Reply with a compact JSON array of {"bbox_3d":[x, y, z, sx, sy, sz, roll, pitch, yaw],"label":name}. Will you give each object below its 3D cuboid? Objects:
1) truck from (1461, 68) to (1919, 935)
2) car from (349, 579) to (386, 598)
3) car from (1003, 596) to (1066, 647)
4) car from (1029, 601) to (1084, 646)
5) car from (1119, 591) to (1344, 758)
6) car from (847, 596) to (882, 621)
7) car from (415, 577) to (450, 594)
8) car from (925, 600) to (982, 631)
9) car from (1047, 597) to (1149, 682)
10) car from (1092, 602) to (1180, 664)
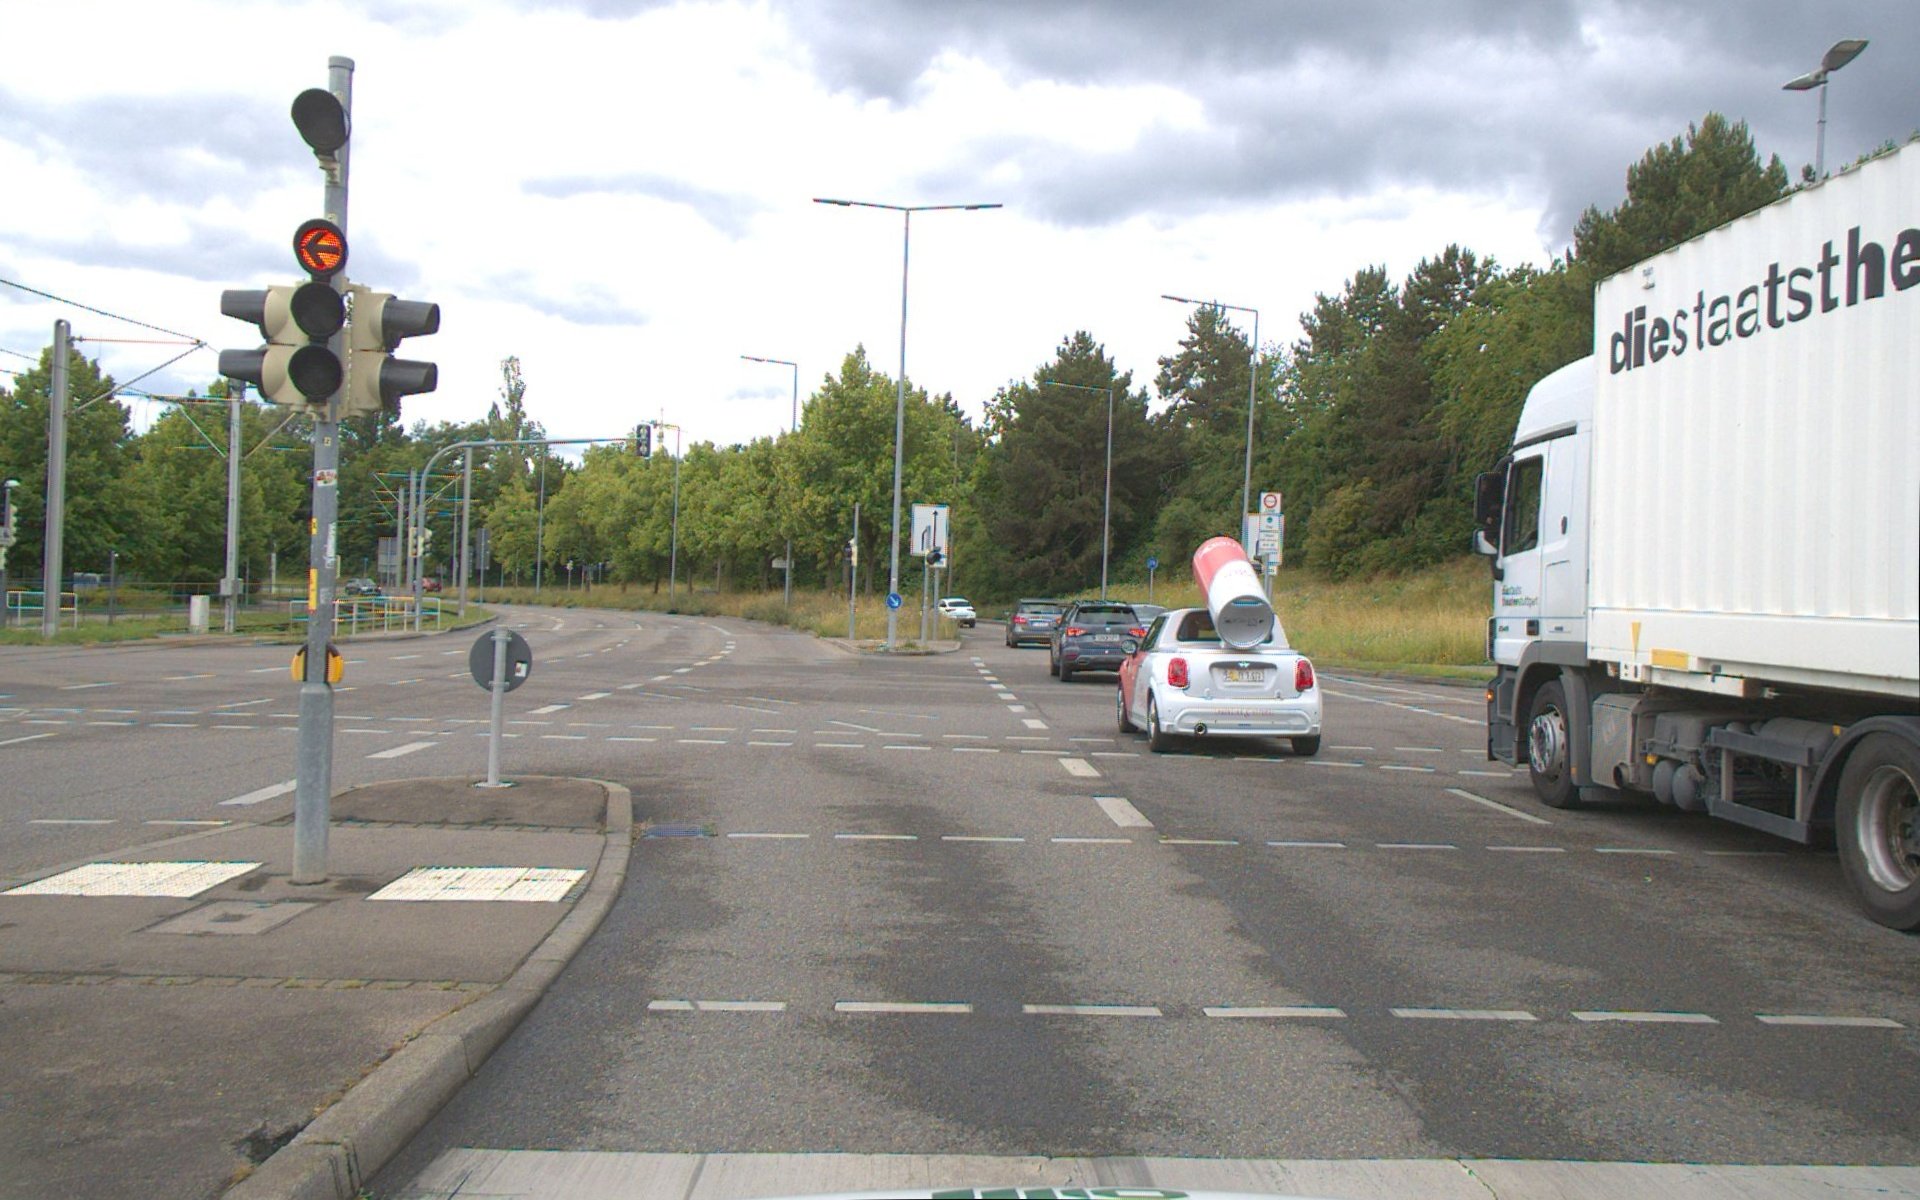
[{"bbox_3d":[5.750,-0.456,9.086,2.746,3.971,10.180,1,1,-1],"label":"truck"},{"bbox_3d":[-51.798,-1.011,144.611,1.783,1.615,3.943,1,-1,-40],"label":"car"},{"bbox_3d":[2.318,0.643,52.380,1.711,1.534,4.047,1,0,-1],"label":"car"},{"bbox_3d":[3.552,0.841,61.506,1.711,1.511,4.355,1,1,-1],"label":"car"},{"bbox_3d":[2.755,0.702,17.495,1.784,1.532,3.494,1,1,0],"label":"car"},{"bbox_3d":[-6.174,0.540,106.779,1.568,1.543,2.750,1,0,-20],"label":"car"},{"bbox_3d":[-51.527,-1.397,161.527,1.775,1.631,3.827,1,-1,-42],"label":"car"},{"bbox_3d":[-0.380,0.776,84.930,1.814,1.533,4.511,1,0,-16],"label":"car"},{"bbox_3d":[2.666,0.733,32.652,1.591,1.519,3.836,1,0,-2],"label":"car"},{"bbox_3d":[4.422,0.796,42.034,1.711,1.407,4.290,1,0,-1],"label":"car"}]
